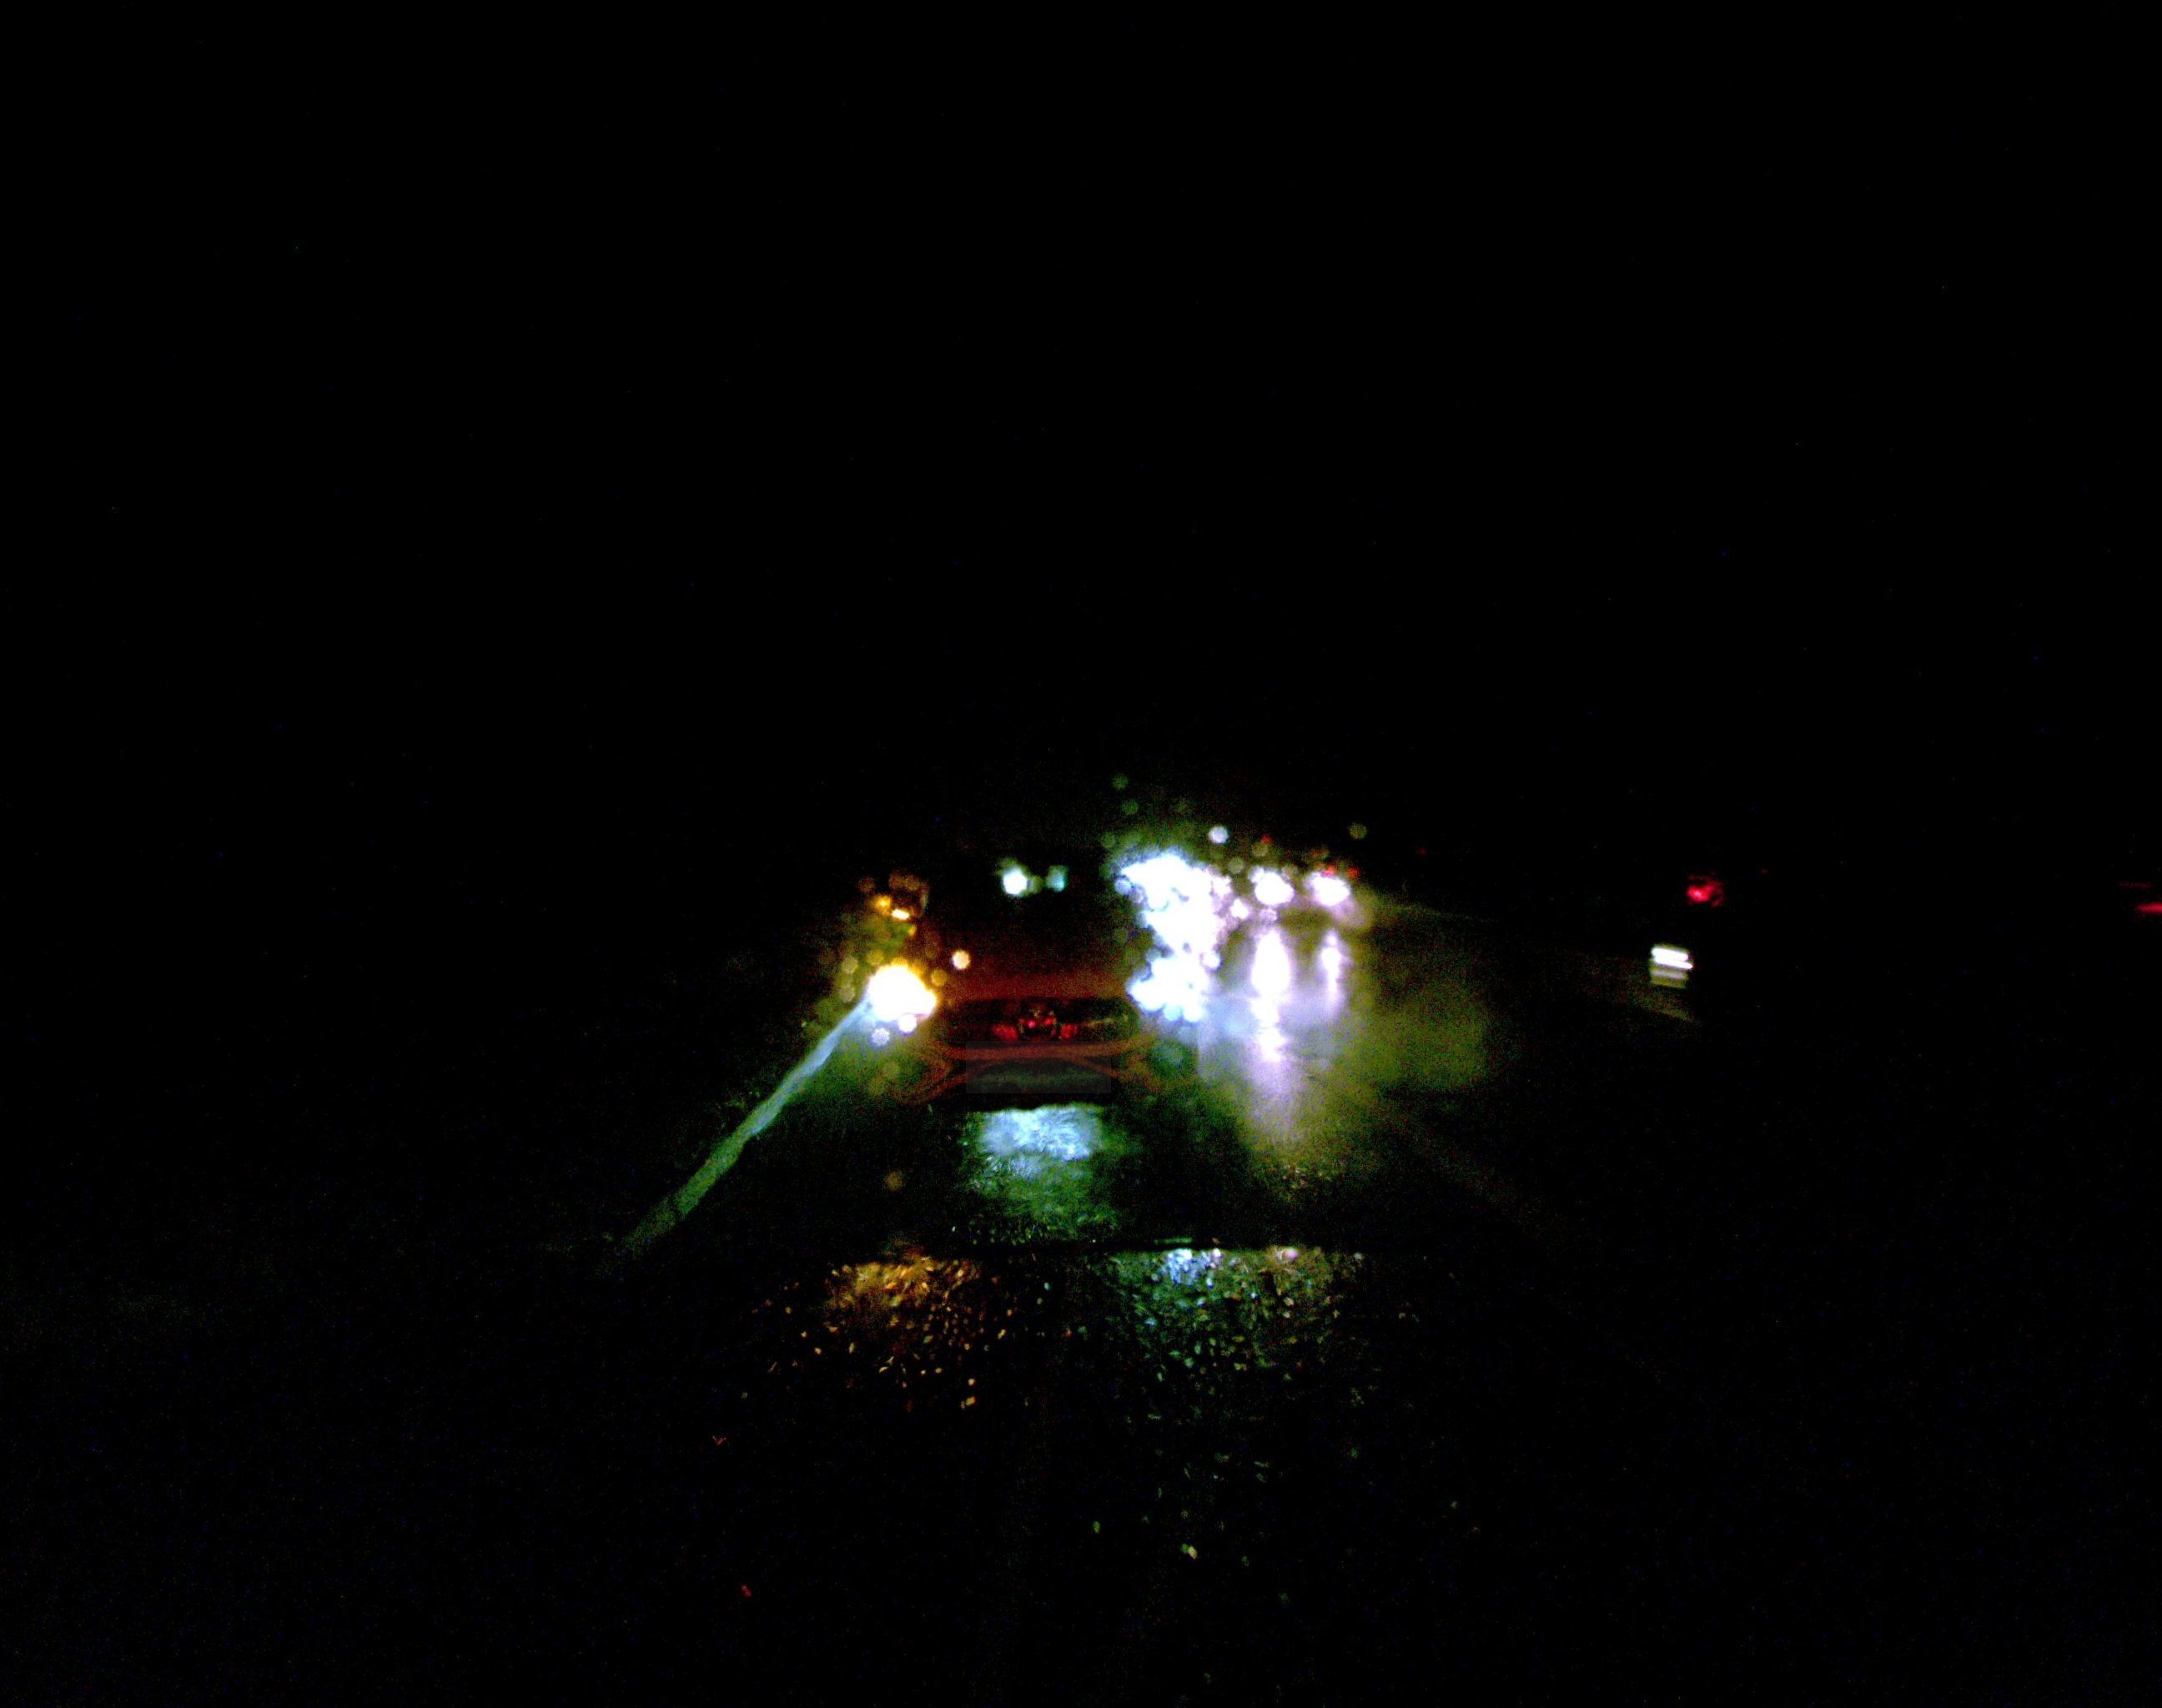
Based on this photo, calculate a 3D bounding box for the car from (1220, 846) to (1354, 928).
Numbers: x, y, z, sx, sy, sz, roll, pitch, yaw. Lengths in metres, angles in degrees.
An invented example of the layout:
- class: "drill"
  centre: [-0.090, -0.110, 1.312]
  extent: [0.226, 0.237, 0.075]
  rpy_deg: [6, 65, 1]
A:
- class: "car"
  centre: [5.146, 0.741, 19.722]
  extent: [1.999, 1.783, 4.720]
  rpy_deg: [-2, 1, -2]

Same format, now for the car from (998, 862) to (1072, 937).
- class: "car"
  centre: [-1.193, 1.075, 19.725]
  extent: [1.656, 1.624, 3.948]
  rpy_deg: [-2, 1, -4]

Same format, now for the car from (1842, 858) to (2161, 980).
- class: "car"
  centre: [16.195, 0.953, 12.842]
  extent: [1.907, 1.710, 4.456]
  rpy_deg: [0, 0, -8]

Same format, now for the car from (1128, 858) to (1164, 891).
- class: "car"
  centre: [3.927, 1.233, 46.637]
  extent: [1.746, 1.791, 4.080]
  rpy_deg: [-2, 1, -1]

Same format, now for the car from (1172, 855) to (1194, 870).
- class: "car"
  centre: [12.181, 0.992, 90.962]
  extent: [1.858, 1.728, 4.638]
  rpy_deg: [-2, 1, -1]

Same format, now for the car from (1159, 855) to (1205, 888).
- class: "car"
  centre: [4.904, 0.812, 37.241]
  extent: [1.680, 1.437, 4.174]
  rpy_deg: [-2, 1, 0]

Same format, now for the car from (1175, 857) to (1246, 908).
- class: "car"
  centre: [4.695, 0.979, 28.089]
  extent: [1.788, 1.586, 4.235]
  rpy_deg: [0, 2, -2]

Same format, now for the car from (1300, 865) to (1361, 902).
- class: "car"
  centre: [13.973, 1.601, 42.852]
  extent: [1.999, 1.824, 4.206]
  rpy_deg: [-2, 1, 0]

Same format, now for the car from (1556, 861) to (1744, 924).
- class: "car"
  centre: [17.929, 1.141, 24.301]
  extent: [2.036, 1.781, 4.783]
  rpy_deg: [-1, 0, -8]

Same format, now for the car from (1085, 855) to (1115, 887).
- class: "car"
  centre: [1.204, 1.061, 48.520]
  extent: [1.781, 1.820, 4.557]
  rpy_deg: [-2, 1, 1]

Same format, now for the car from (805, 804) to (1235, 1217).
- class: "car"
  centre: [-0.378, 0.718, 5.829]
  extent: [2.004, 1.914, 4.367]
  rpy_deg: [-2, 1, -3]

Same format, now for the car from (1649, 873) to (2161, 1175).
- class: "car"
  centre: [6.098, 0.866, 4.727]
  extent: [1.836, 1.399, 4.119]
  rpy_deg: [0, 0, -5]
